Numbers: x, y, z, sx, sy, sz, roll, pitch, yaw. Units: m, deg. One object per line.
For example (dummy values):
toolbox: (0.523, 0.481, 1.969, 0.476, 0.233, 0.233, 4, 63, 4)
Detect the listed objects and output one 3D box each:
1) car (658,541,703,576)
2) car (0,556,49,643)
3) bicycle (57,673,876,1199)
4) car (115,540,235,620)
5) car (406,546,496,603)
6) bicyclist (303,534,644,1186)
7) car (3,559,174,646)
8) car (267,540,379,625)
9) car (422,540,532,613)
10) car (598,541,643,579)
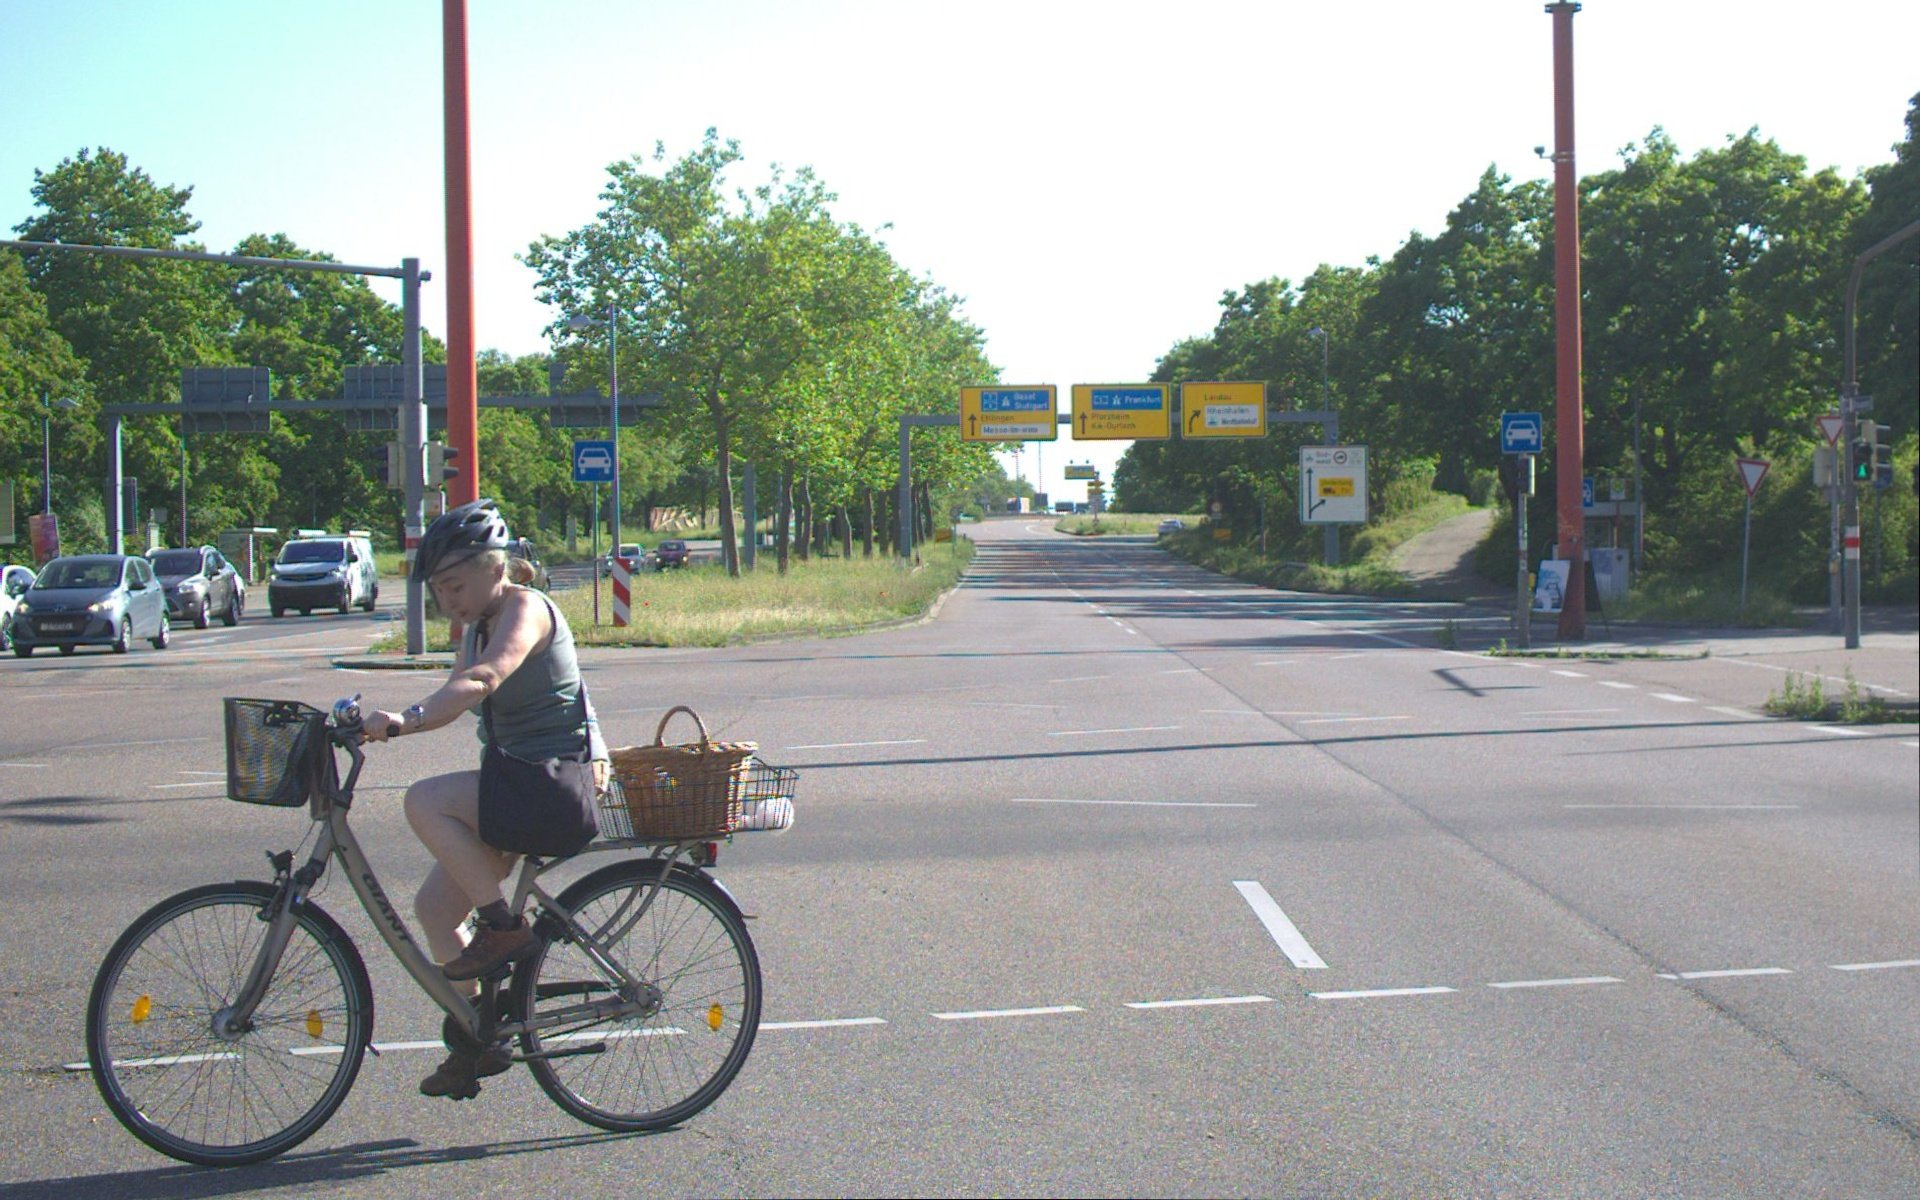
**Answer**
car: (-13.383, -1.991, 164.775, 1.819, 1.623, 4.000, -1, 1, -1)
car: (-16.422, -0.017, 57.031, 1.739, 1.406, 3.613, -1, 1, -1)
bicycle: (-1.245, 0.817, 8.803, 1.942, 1.191, 0.692, -1, 1, -28)
car: (-16.203, -0.438, 71.099, 1.739, 1.606, 3.613, -1, 1, -1)
car: (-12.432, -0.638, 84.171, 1.739, 1.357, 3.613, -1, 1, -1)
bicyclist: (-1.252, 0.625, 8.796, 0.660, 1.579, 0.673, -1, 1, -28)
car: (-13.115, 0.015, 51.913, 1.739, 1.239, 3.613, -1, 1, -1)
car: (-15.686, -0.462, 84.881, 1.893, 2.019, 5.224, -1, 1, -1)
car: (-10.367, -0.527, 74.023, 1.819, 1.503, 4.000, -1, 1, -1)
car: (-15.081, -1.777, 152.897, 1.797, 1.634, 4.001, -1, 1, -3)
